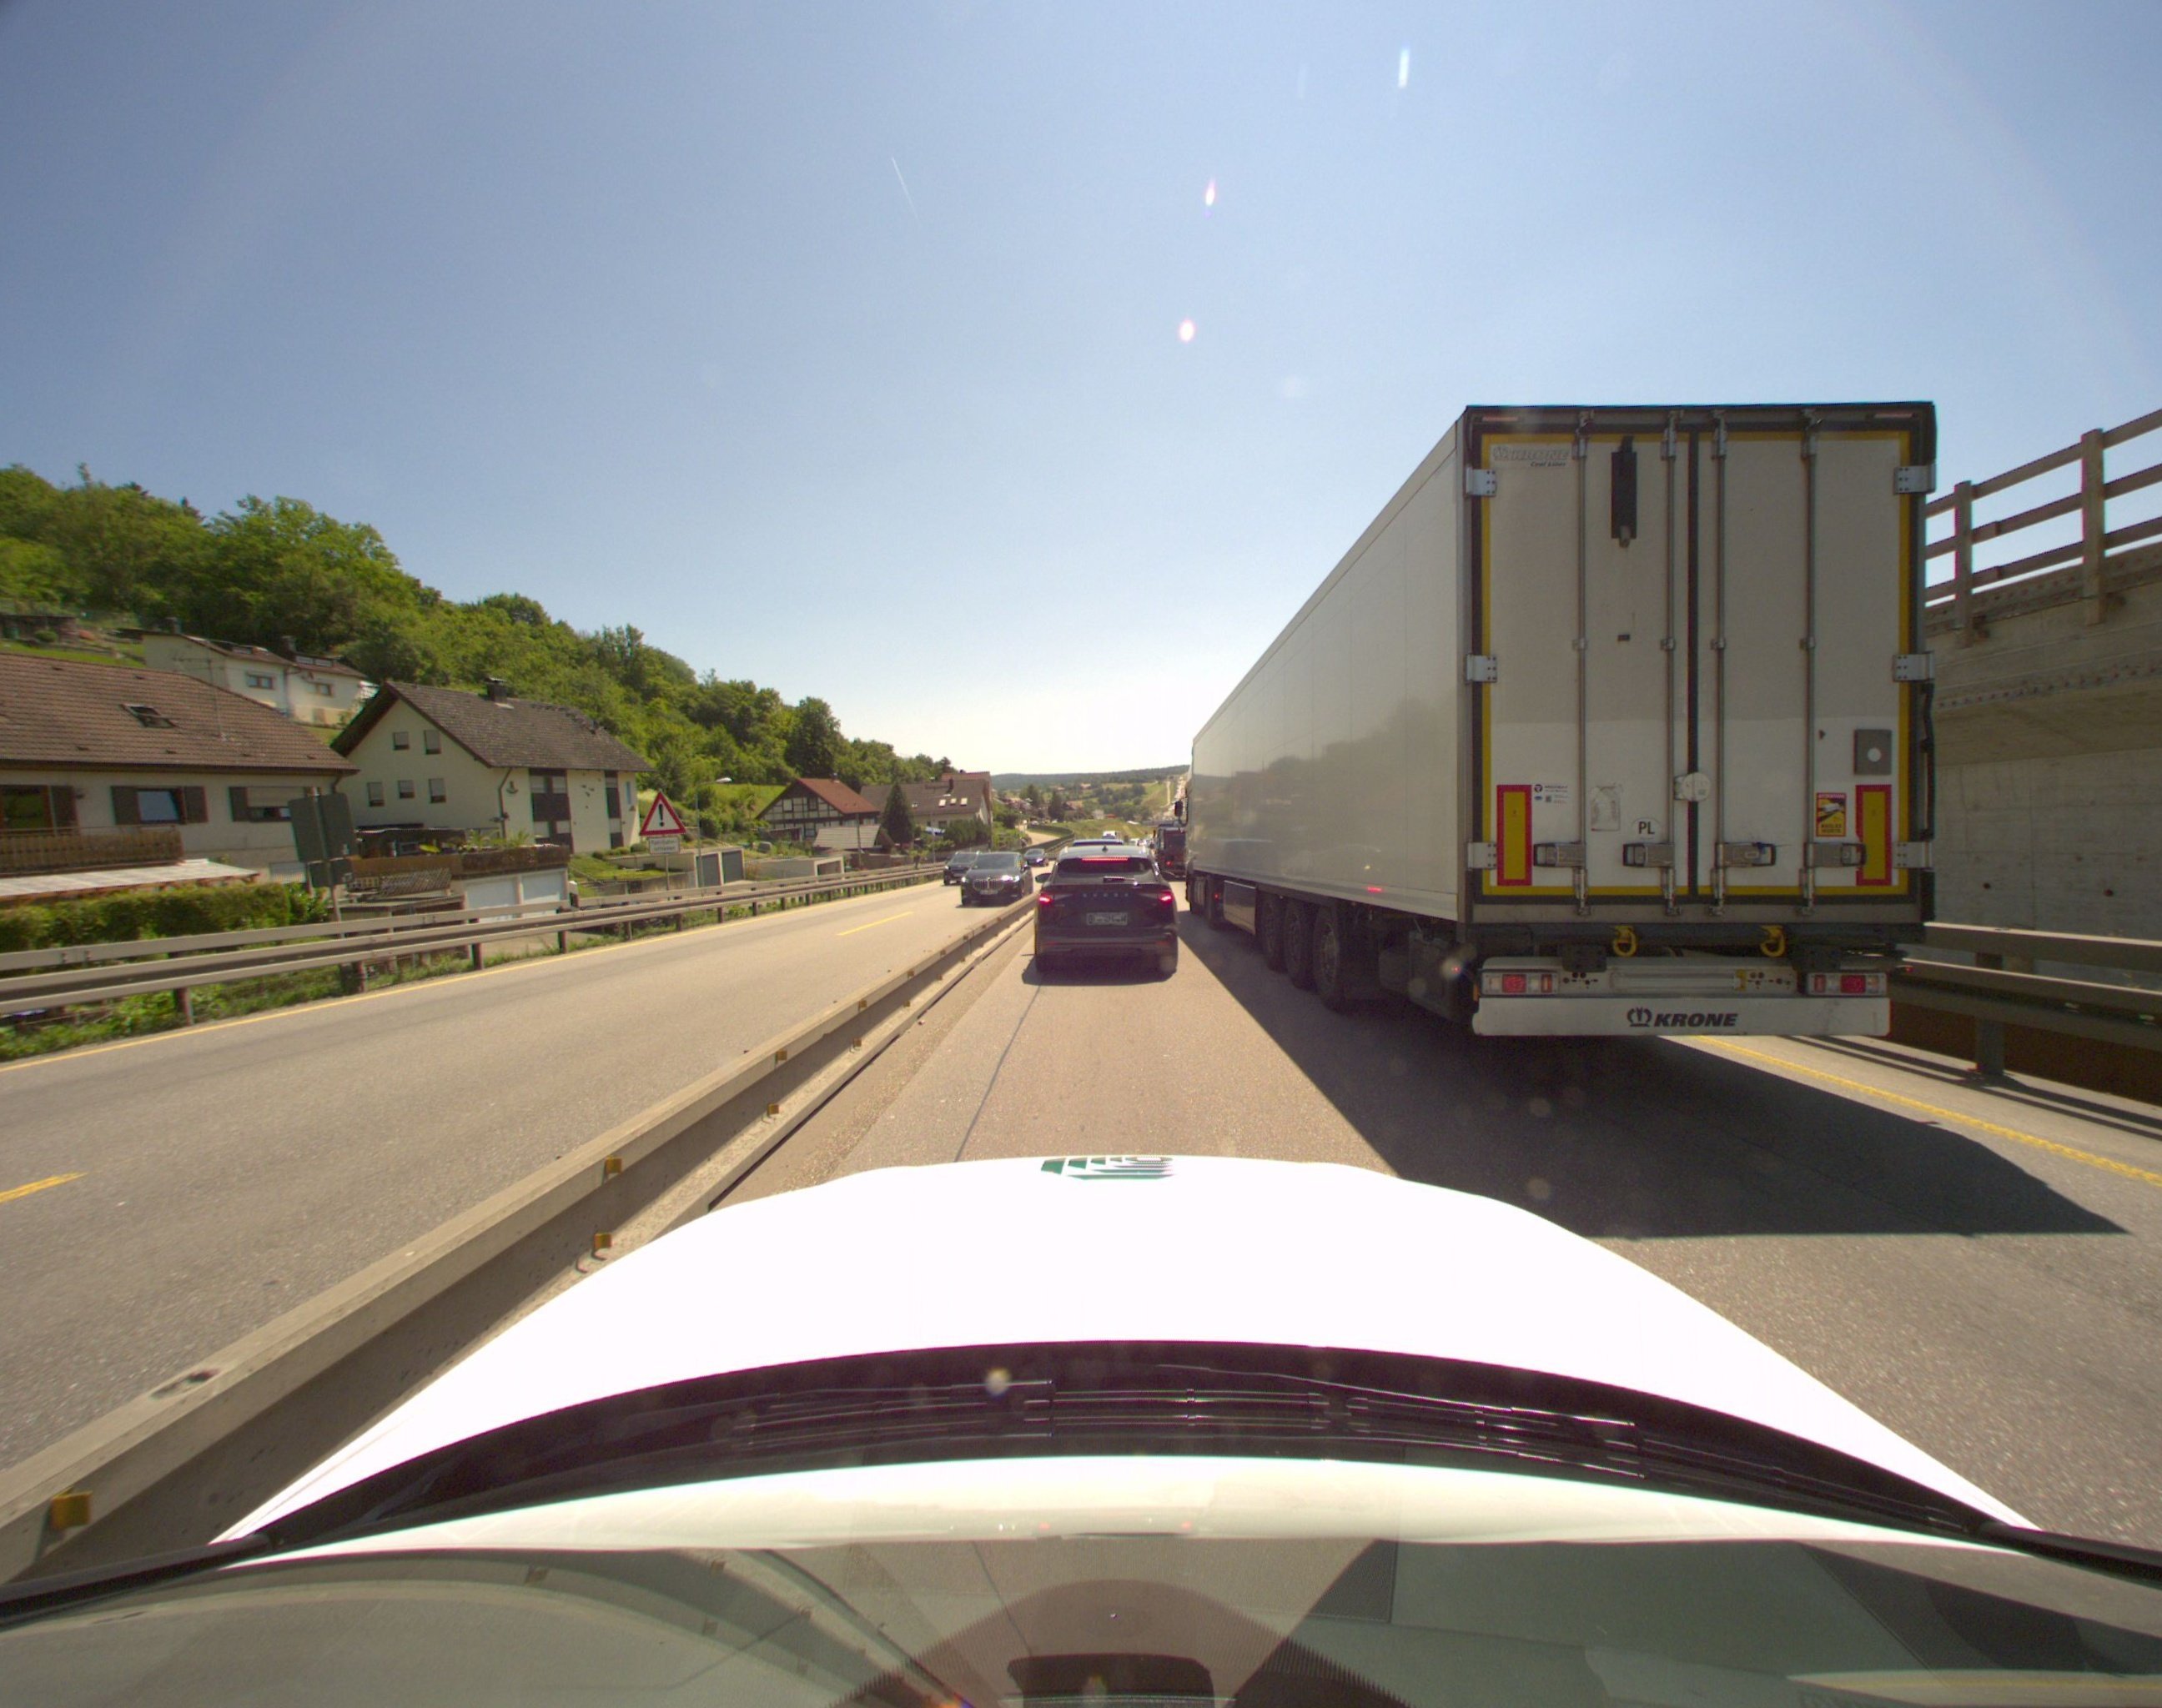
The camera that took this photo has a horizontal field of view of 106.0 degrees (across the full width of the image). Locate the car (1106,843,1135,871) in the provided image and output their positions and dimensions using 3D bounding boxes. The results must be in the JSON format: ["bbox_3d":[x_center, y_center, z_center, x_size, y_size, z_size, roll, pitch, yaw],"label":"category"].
[{"bbox_3d":[2.458,0.151,51.374,1.700,1.622,4.002,-1,1,2],"label":"car"}]

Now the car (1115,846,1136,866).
[{"bbox_3d":[3.743,0.131,68.722,1.700,1.622,4.002,-1,1,2],"label":"car"}]

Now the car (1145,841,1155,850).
[{"bbox_3d":[13.852,-1.656,163.576,1.692,1.727,3.843,-1,0,7],"label":"car"}]

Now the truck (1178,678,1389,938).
[{"bbox_3d":[3.647,-0.699,16.812,2.504,4.025,8.241,-1,0,2],"label":"truck"}]

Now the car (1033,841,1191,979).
[{"bbox_3d":[0.313,0.666,11.492,1.837,1.586,3.905,-1,0,-2],"label":"car"}]

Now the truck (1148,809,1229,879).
[{"bbox_3d":[5.521,-0.456,44.420,3.182,3.191,12.816,-1,0,2],"label":"truck"}]

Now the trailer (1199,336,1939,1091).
[{"bbox_3d":[3.508,-0.759,10.251,2.523,4.127,11.549,-1,0,1],"label":"trailer"}]

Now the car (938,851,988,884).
[{"bbox_3d":[-5.551,0.637,38.626,1.699,1.465,3.682,-1,0,1],"label":"car"}]

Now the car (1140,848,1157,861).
[{"bbox_3d":[8.459,0.045,101.767,1.985,1.585,3.839,-1,0,3],"label":"car"}]

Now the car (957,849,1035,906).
[{"bbox_3d":[-2.535,0.678,25.171,1.812,1.586,4.161,1,0,2],"label":"car"}]

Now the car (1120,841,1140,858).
[{"bbox_3d":[4.951,-0.424,82.370,1.985,1.585,3.839,-1,0,3],"label":"car"}]

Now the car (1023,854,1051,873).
[{"bbox_3d":[-3.527,0.739,66.199,1.834,1.418,4.689,-3,0,2],"label":"car"}]

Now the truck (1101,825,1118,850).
[{"bbox_3d":[5.280,-3.004,148.435,2.739,4.283,4.965,-1,1,5],"label":"truck"}]

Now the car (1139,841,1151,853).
[{"bbox_3d":[10.090,-1.088,127.619,1.692,1.727,3.843,-1,0,7],"label":"car"}]

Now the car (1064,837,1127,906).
[{"bbox_3d":[0.364,0.455,24.647,1.702,1.881,3.998,-1,1,-2],"label":"car"}]
